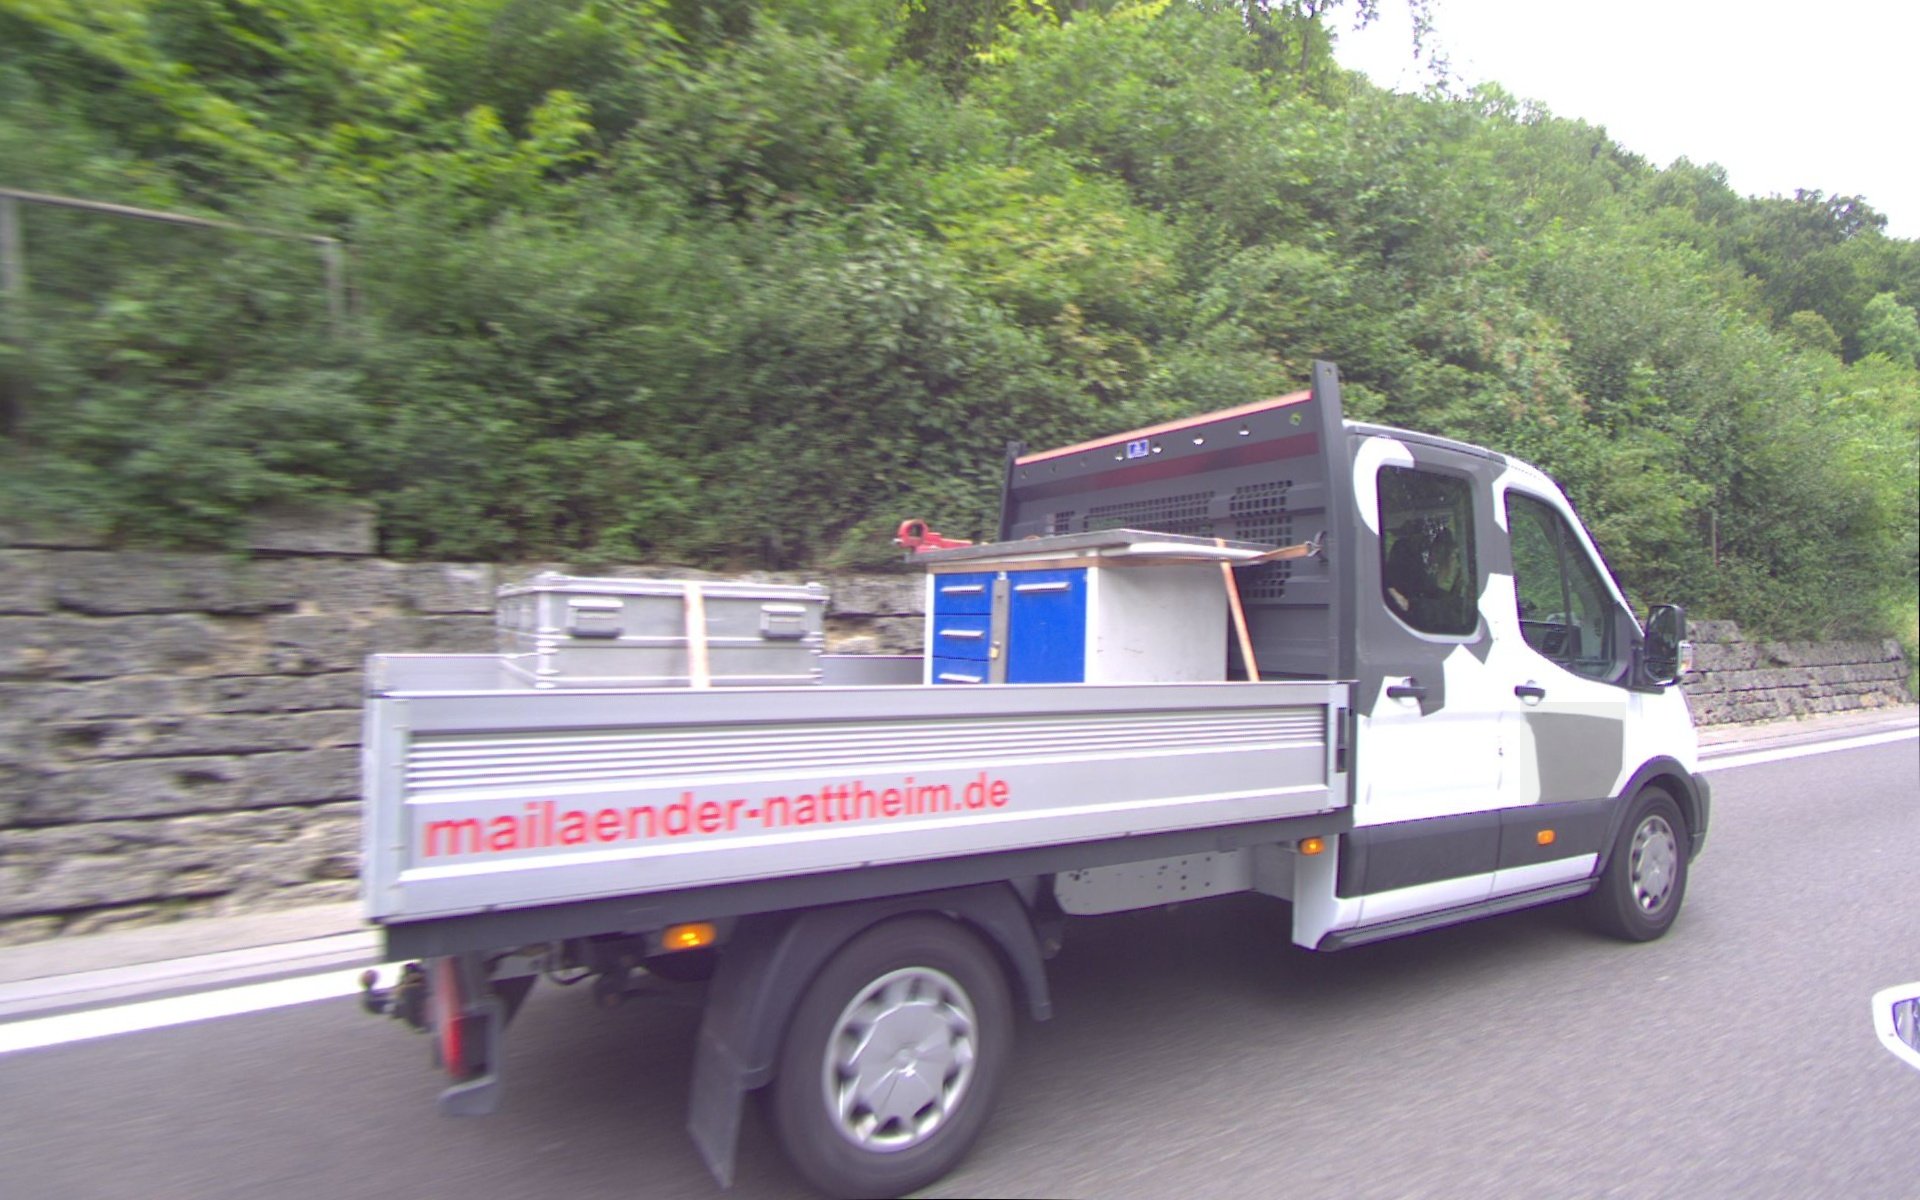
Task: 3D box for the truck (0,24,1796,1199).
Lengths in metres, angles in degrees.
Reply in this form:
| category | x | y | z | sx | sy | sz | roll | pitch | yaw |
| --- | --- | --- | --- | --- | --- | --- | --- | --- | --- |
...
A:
| category | x | y | z | sx | sy | sz | roll | pitch | yaw |
| --- | --- | --- | --- | --- | --- | --- | --- | --- | --- |
| truck | 0.674 | 0.371 | 4.174 | 6.773 | 2.304 | 2.336 | 1 | -1 | -32 |
